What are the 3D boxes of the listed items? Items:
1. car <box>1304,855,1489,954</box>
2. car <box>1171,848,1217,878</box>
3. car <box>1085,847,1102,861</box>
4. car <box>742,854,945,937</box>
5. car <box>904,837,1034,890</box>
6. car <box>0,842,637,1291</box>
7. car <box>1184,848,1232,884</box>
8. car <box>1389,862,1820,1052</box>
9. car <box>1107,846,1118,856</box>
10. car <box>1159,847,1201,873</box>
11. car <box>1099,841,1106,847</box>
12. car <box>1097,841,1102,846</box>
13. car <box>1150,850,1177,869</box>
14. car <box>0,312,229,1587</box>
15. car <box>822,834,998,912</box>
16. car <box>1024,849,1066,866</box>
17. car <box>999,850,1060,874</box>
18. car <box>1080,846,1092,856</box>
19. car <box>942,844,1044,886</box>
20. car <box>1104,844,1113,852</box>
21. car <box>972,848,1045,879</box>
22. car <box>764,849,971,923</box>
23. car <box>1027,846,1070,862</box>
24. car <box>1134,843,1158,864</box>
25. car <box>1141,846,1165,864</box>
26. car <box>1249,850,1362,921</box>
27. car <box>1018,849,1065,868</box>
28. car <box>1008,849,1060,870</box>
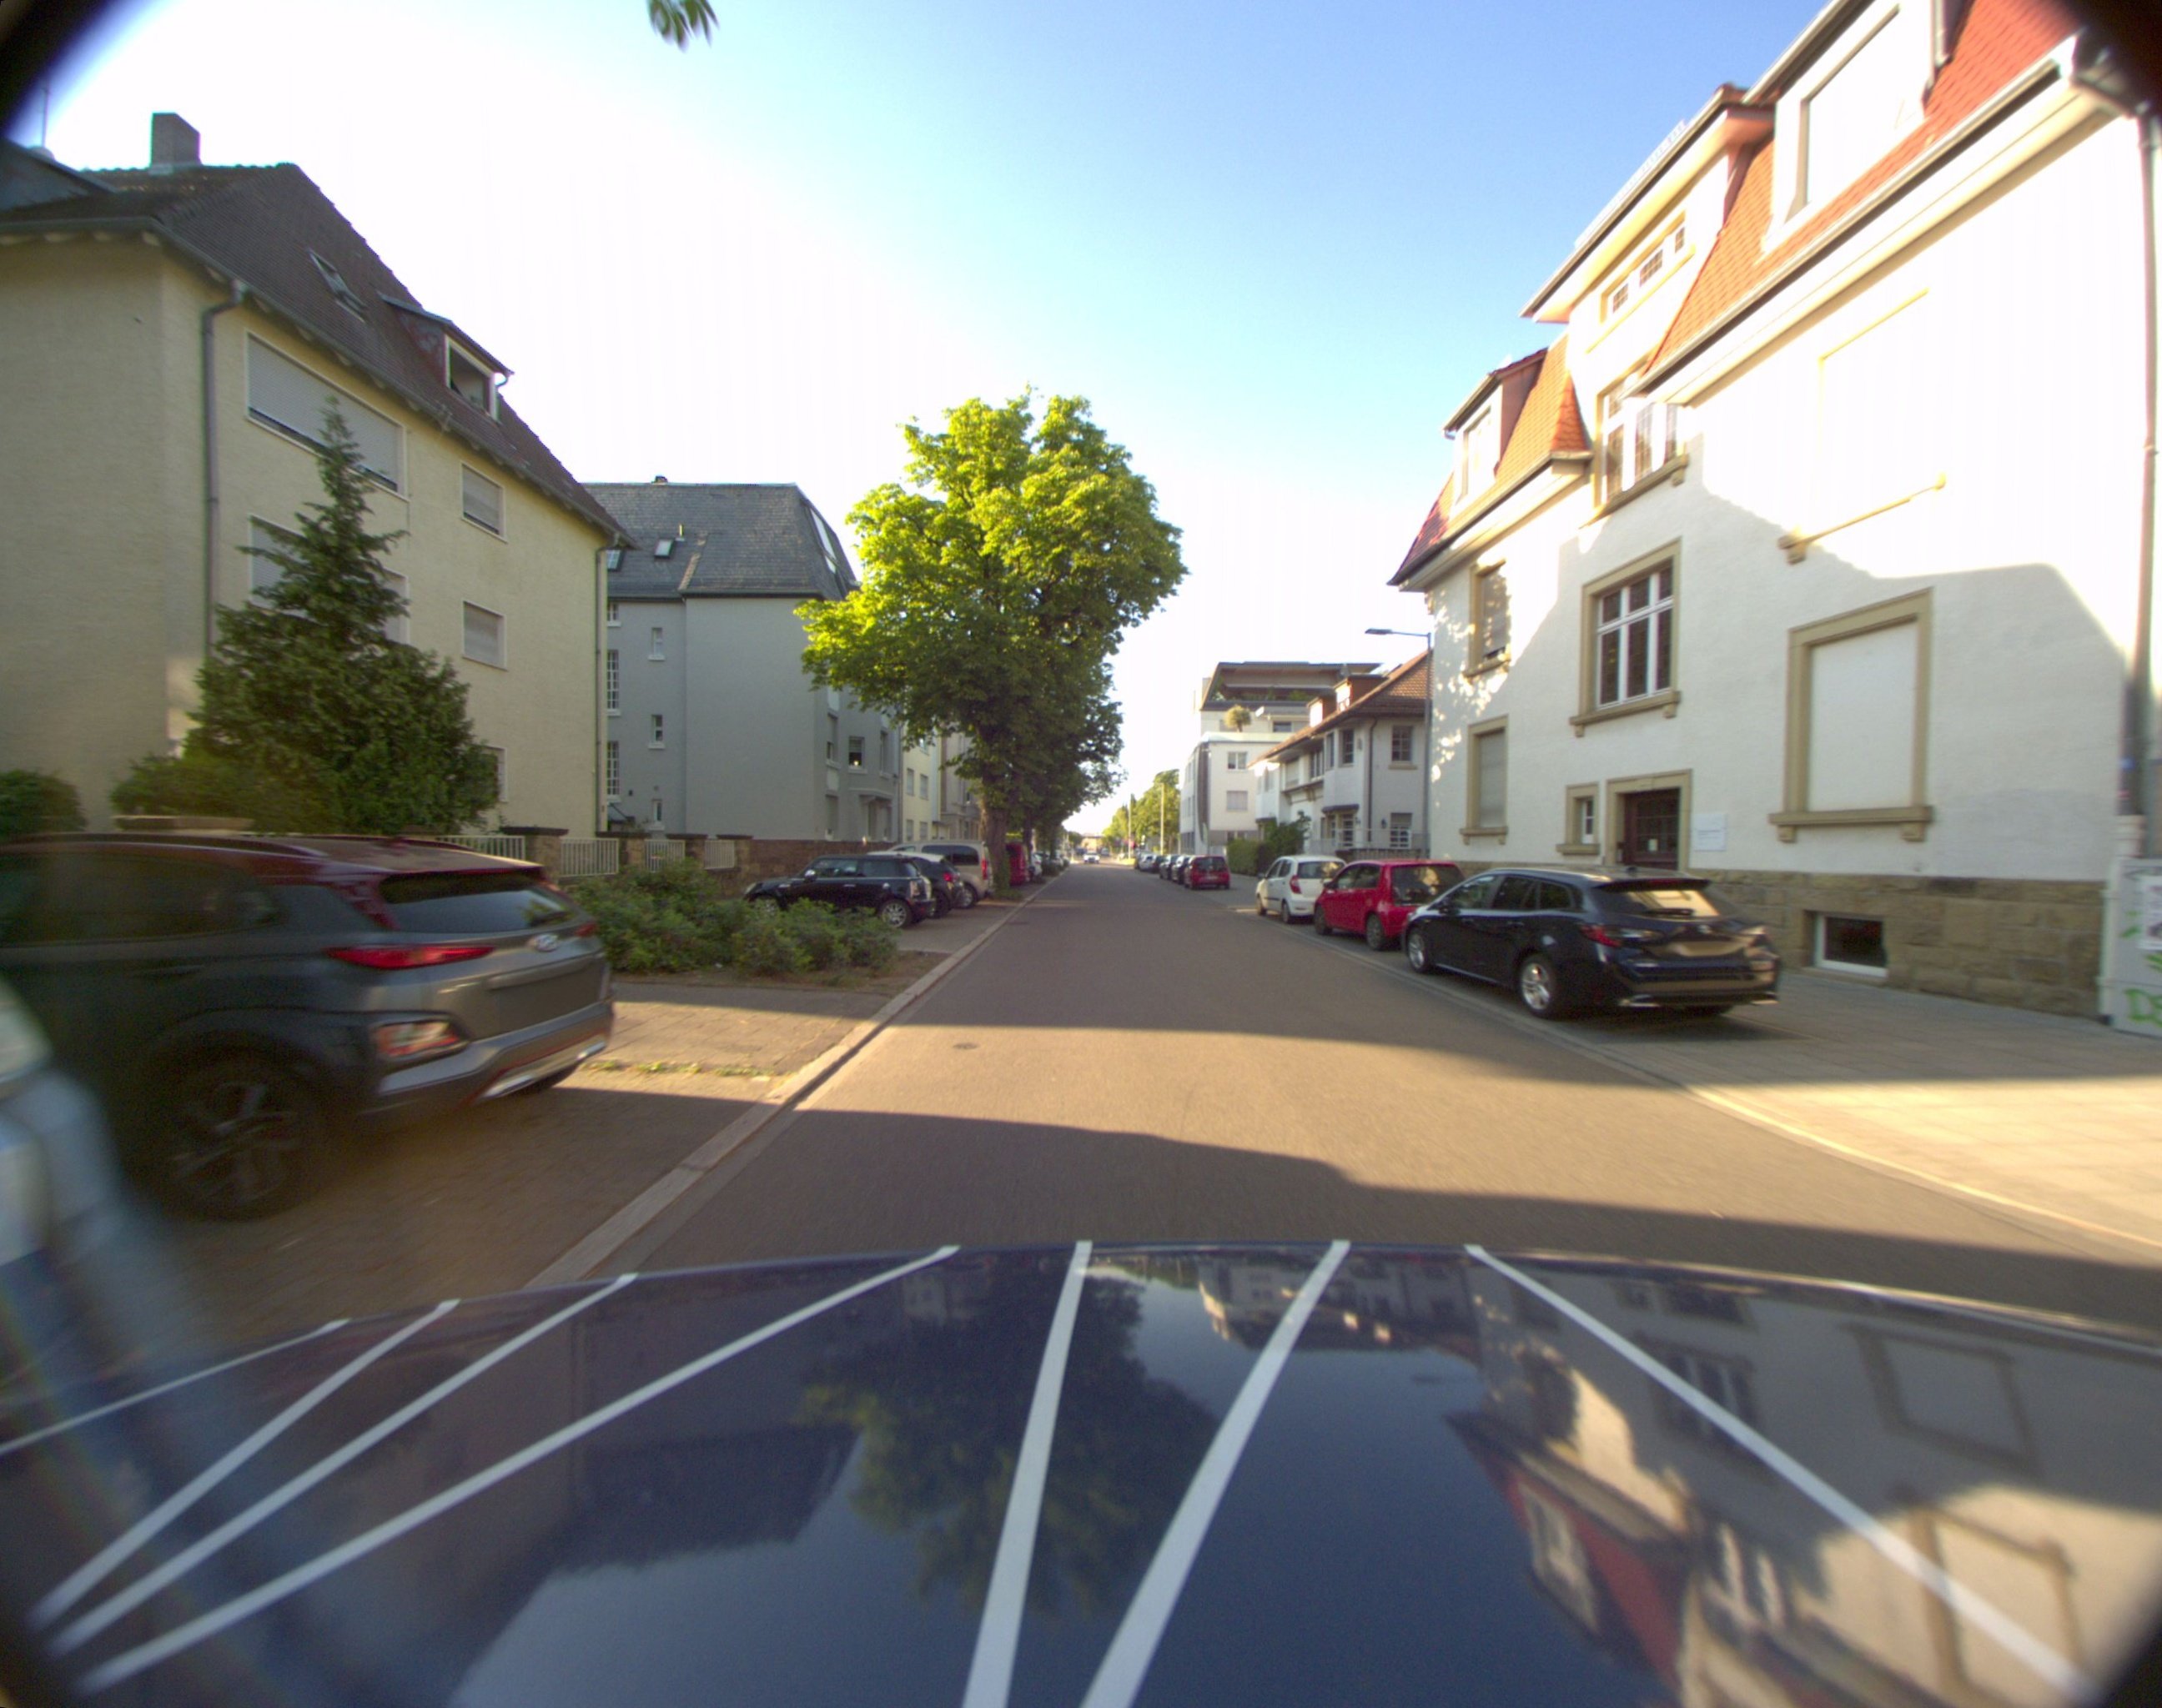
[{"bbox_3d":[5.418,0.779,13.568,1.586,1.468,3.705,0,1,-3],"label":"car"},{"bbox_3d":[5.651,0.415,38.545,1.742,1.451,4.378,-1,1,1],"label":"car"},{"bbox_3d":[1.518,-0.009,93.343,1.999,1.690,4.423,1,0,0],"label":"car"},{"bbox_3d":[-4.605,0.776,15.093,3.411,1.419,1.759,2,1,1],"label":"car"},{"bbox_3d":[-4.421,0.368,30.472,4.819,1.925,1.950,2,1,1],"label":"car"},{"bbox_3d":[-4.832,0.790,3.737,4.200,1.559,1.758,3,1,-1],"label":"car"},{"bbox_3d":[5.476,0.486,33.093,1.654,1.474,3.429,-1,1,2],"label":"car"},{"bbox_3d":[5.166,0.865,8.459,1.657,1.446,4.630,0,0,1],"label":"car"},{"bbox_3d":[5.611,-0.549,135.549,1.913,1.679,4.198,-1,1,1],"label":"car"},{"bbox_3d":[5.744,0.326,44.578,1.743,1.451,4.563,-1,1,-2],"label":"car"},{"bbox_3d":[5.968,-2.808,212.294,1.913,1.679,4.198,-1,1,1],"label":"car"},{"bbox_3d":[6.255,-3.526,258.571,1.913,1.679,4.198,-1,1,1],"label":"car"},{"bbox_3d":[6.025,0.388,55.949,1.723,1.386,3.908,-1,0,2],"label":"car"},{"bbox_3d":[-4.987,0.165,1.091,5.108,2.885,2.076,2,1,-1],"label":"car"},{"bbox_3d":[-4.486,0.475,20.383,4.313,1.874,1.758,1,2,-2],"label":"car"},{"bbox_3d":[-3.369,0.331,71.163,3.825,1.477,1.601,2,1,1],"label":"car"},{"bbox_3d":[-3.185,0.484,47.780,3.680,1.434,1.601,2,1,1],"label":"car"},{"bbox_3d":[0.896,-0.491,131.787,1.913,1.679,4.198,-1,1,1],"label":"car"},{"bbox_3d":[-3.856,0.486,33.835,4.207,1.695,1.792,2,1,4],"label":"car"},{"bbox_3d":[6.012,-1.352,166.693,1.913,1.679,4.198,-1,1,1],"label":"car"},{"bbox_3d":[-3.820,0.502,40.340,3.680,1.488,1.676,2,1,1],"label":"car"},{"bbox_3d":[-4.834,0.699,17.686,4.313,1.532,1.758,1,1,-2],"label":"car"},{"bbox_3d":[-3.582,-0.042,83.851,4.592,1.701,2.104,1,1,43],"label":"car"},{"bbox_3d":[6.049,-0.073,71.139,1.913,1.937,4.198,-1,1,1],"label":"car"},{"bbox_3d":[5.776,0.090,61.130,1.723,1.386,3.908,-1,0,2],"label":"car"},{"bbox_3d":[5.278,0.677,18.298,1.585,1.512,3.706,0,1,-1],"label":"car"},{"bbox_3d":[-3.322,0.349,63.700,3.828,1.477,1.600,1,1,-6],"label":"car"},{"bbox_3d":[-3.606,0.408,58.294,3.825,1.477,1.601,2,1,1],"label":"car"}]
